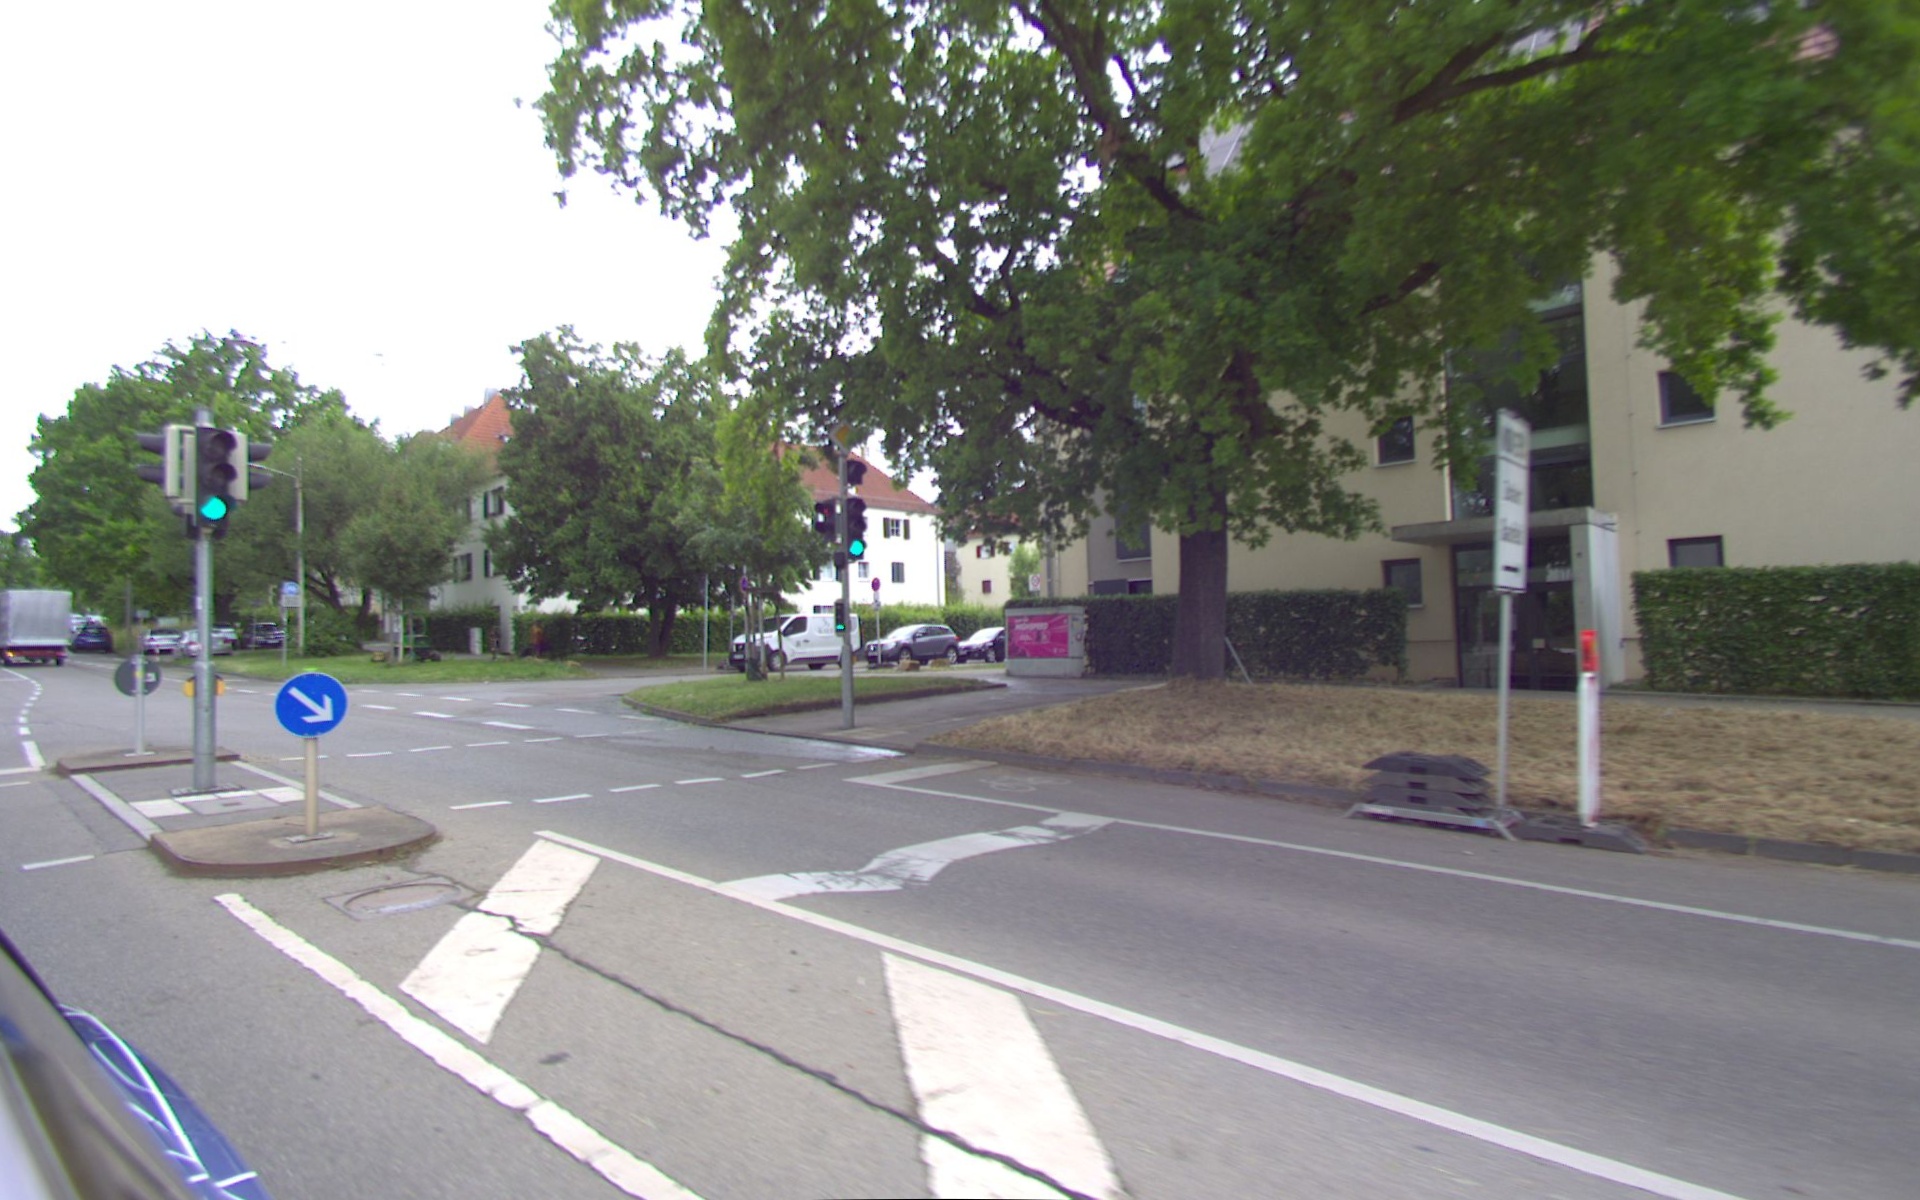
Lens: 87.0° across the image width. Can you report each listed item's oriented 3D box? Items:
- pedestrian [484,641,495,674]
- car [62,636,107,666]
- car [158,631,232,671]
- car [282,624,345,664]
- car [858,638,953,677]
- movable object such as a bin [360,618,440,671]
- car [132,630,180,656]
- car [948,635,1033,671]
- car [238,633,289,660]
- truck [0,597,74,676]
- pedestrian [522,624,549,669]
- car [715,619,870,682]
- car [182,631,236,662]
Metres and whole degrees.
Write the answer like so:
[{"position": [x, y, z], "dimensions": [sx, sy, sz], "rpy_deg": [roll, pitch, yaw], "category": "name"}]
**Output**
[{"position": [-18.433, 2.264, 39.649], "dimensions": [0.353, 1.281, 0.361], "rpy_deg": [1, -2, -24], "category": "pedestrian"}, {"position": [-52.675, 3.041, 60.872], "dimensions": [1.969, 1.696, 4.005], "rpy_deg": [0, -1, -42], "category": "car"}, {"position": [-35.032, 2.304, 46.297], "dimensions": [4.546, 1.689, 1.972], "rpy_deg": [-2, -1, 43], "category": "car"}, {"position": [-32.391, 2.172, 50.653], "dimensions": [4.001, 1.904, 1.732], "rpy_deg": [-2, -1, 44], "category": "car"}, {"position": [-2.052, 2.154, 38.438], "dimensions": [1.539, 1.323, 3.488], "rpy_deg": [-2, -1, 44], "category": "car"}, {"position": [-21.264, 1.680, 38.385], "dimensions": [3.235, 1.918, 1.088], "rpy_deg": [-1, -1, 29], "category": "movable object such as a bin"}, {"position": [-44.040, 2.336, 55.402], "dimensions": [4.001, 1.364, 1.583], "rpy_deg": [-2, -1, 44], "category": "car"}, {"position": [1.290, 2.161, 41.779], "dimensions": [1.539, 1.323, 3.488], "rpy_deg": [-2, -1, 44], "category": "car"}, {"position": [-39.768, 2.602, 57.741], "dimensions": [3.873, 1.442, 1.657], "rpy_deg": [-2, -1, 44], "category": "car"}, {"position": [-41.575, 1.611, 45.062], "dimensions": [7.214, 3.262, 2.340], "rpy_deg": [-2, -2, 42], "category": "truck"}, {"position": [-16.908, 1.856, 40.315], "dimensions": [0.683, 1.770, 0.775], "rpy_deg": [-1, -1, 11], "category": "pedestrian"}, {"position": [-5.630, 1.649, 34.618], "dimensions": [2.000, 1.932, 5.084], "rpy_deg": [-2, -1, 43], "category": "car"}, {"position": [-42.183, 2.577, 56.828], "dimensions": [4.001, 1.618, 1.835], "rpy_deg": [-2, -1, 44], "category": "car"}]
